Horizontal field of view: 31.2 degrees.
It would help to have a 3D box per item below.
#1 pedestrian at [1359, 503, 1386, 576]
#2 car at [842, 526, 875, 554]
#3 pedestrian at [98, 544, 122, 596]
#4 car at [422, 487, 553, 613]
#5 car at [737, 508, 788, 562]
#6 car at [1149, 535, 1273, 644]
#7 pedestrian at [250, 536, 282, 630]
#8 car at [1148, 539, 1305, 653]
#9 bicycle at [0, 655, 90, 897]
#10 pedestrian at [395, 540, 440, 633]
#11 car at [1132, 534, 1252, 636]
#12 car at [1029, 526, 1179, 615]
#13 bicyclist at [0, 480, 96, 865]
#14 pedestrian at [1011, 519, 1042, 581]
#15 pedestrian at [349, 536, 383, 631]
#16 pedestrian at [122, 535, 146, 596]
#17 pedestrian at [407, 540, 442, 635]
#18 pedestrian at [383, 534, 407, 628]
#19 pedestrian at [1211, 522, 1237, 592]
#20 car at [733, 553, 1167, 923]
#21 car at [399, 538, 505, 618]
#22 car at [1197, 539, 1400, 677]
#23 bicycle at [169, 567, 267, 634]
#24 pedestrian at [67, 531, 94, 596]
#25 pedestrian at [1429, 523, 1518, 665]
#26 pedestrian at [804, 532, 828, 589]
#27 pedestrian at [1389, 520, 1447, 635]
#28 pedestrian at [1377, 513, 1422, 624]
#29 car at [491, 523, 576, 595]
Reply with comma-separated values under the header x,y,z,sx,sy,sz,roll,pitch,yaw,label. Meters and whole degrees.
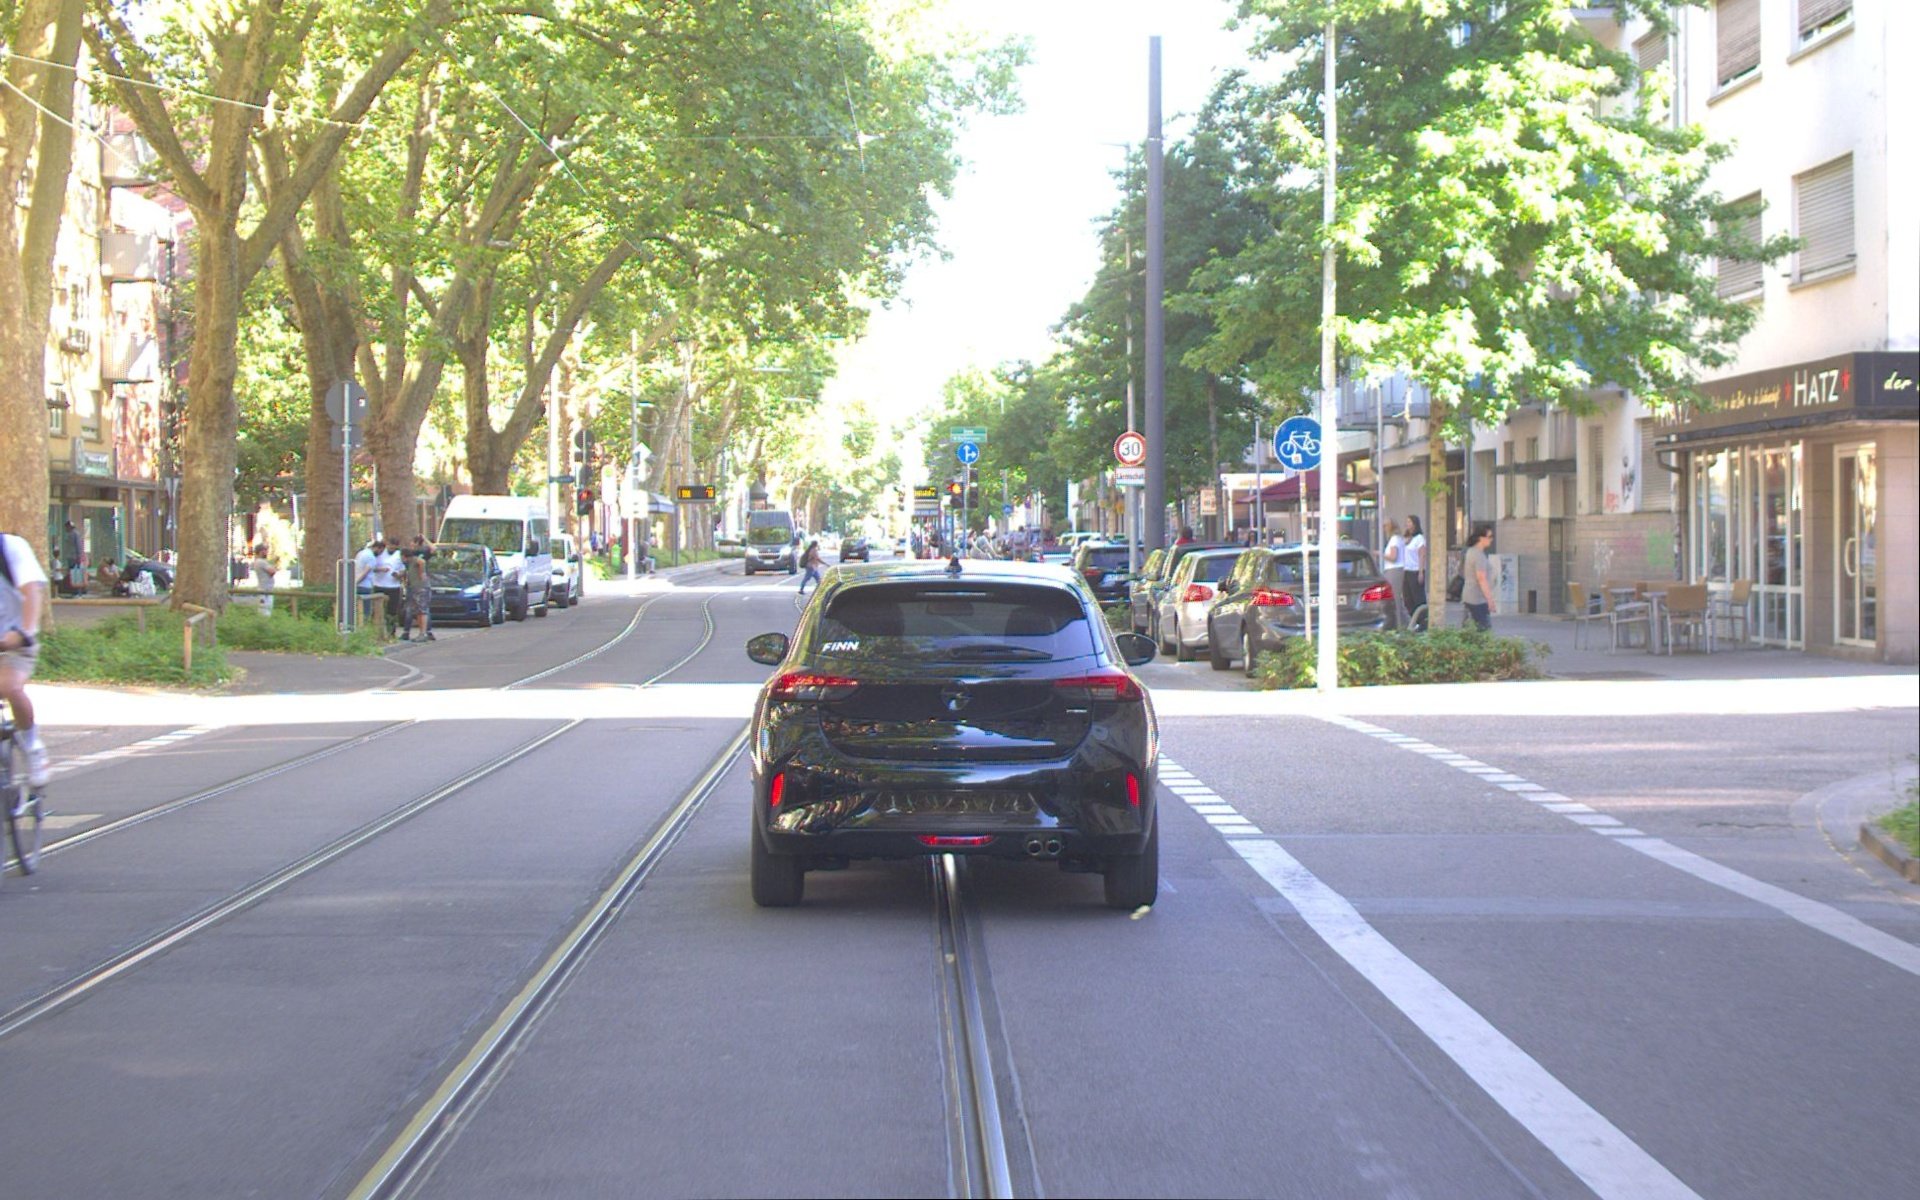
x,y,z,sx,sy,sz,roll,pitch,yaw,label
9.798,-1.439,81.687,0.629,1.727,0.632,0,1,5,pedestrian
-5.952,-3.527,201.461,1.750,1.646,4.000,0,1,1,car
-21.910,-0.783,88.607,0.506,1.328,0.527,0,1,-4,pedestrian
-10.045,-1.079,73.543,2.092,2.575,5.997,0,1,-1,car
-8.333,-2.733,144.676,1.993,2.204,5.103,0,1,-5,car
3.710,-0.184,51.164,1.651,1.568,3.083,0,1,1,car
-11.704,-0.289,57.967,0.506,1.577,0.527,0,1,-12,pedestrian
3.611,-0.084,47.141,1.718,1.485,3.682,0,1,-2,car
-4.370,0.763,15.412,0.520,0.959,1.929,0,1,-2,bicycle
-9.199,-0.234,58.345,0.683,1.577,0.557,0,1,-2,pedestrian
3.679,-0.273,54.960,1.718,1.568,3.682,0,1,1,car
2.710,-0.579,65.737,1.993,1.634,4.001,0,1,-11,car
-4.373,0.309,15.395,0.784,1.672,0.957,0,1,-3,bicyclist
2.229,-1.688,115.874,0.856,2.007,1.069,-5,0,0,pedestrian
-9.947,-0.281,57.555,0.506,1.577,0.527,0,1,-5,pedestrian
-21.213,-0.888,88.300,0.506,1.577,0.527,0,1,-4,pedestrian
-8.989,-0.210,57.697,0.506,1.577,0.527,0,1,-1,pedestrian
-9.488,-0.325,57.747,0.346,1.577,0.508,0,1,-2,pedestrian
6.546,-1.074,85.342,0.629,1.727,0.632,0,1,4,pedestrian
-0.081,0.519,15.371,1.679,1.417,3.628,1,1,-1,car
-9.922,-0.452,67.336,1.754,1.503,4.001,0,1,-4,car
4.026,0.053,41.477,1.718,1.568,4.085,0,1,-5,car
-12.419,0.010,57.534,1.694,1.058,0.452,2,0,29,bicycle
-21.616,-0.904,84.523,0.553,1.577,0.574,0,1,-5,pedestrian
5.901,-0.074,39.498,0.856,1.611,0.769,0,1,22,pedestrian
-4.060,-1.118,96.748,0.594,1.584,0.893,0,1,-8,pedestrian
6.980,-0.344,52.410,0.793,1.742,0.770,0,1,2,pedestrian
6.571,-0.469,51.424,0.600,1.646,0.631,0,1,1,pedestrian
-10.394,-1.017,83.984,1.993,1.711,4.001,0,1,-6,car
